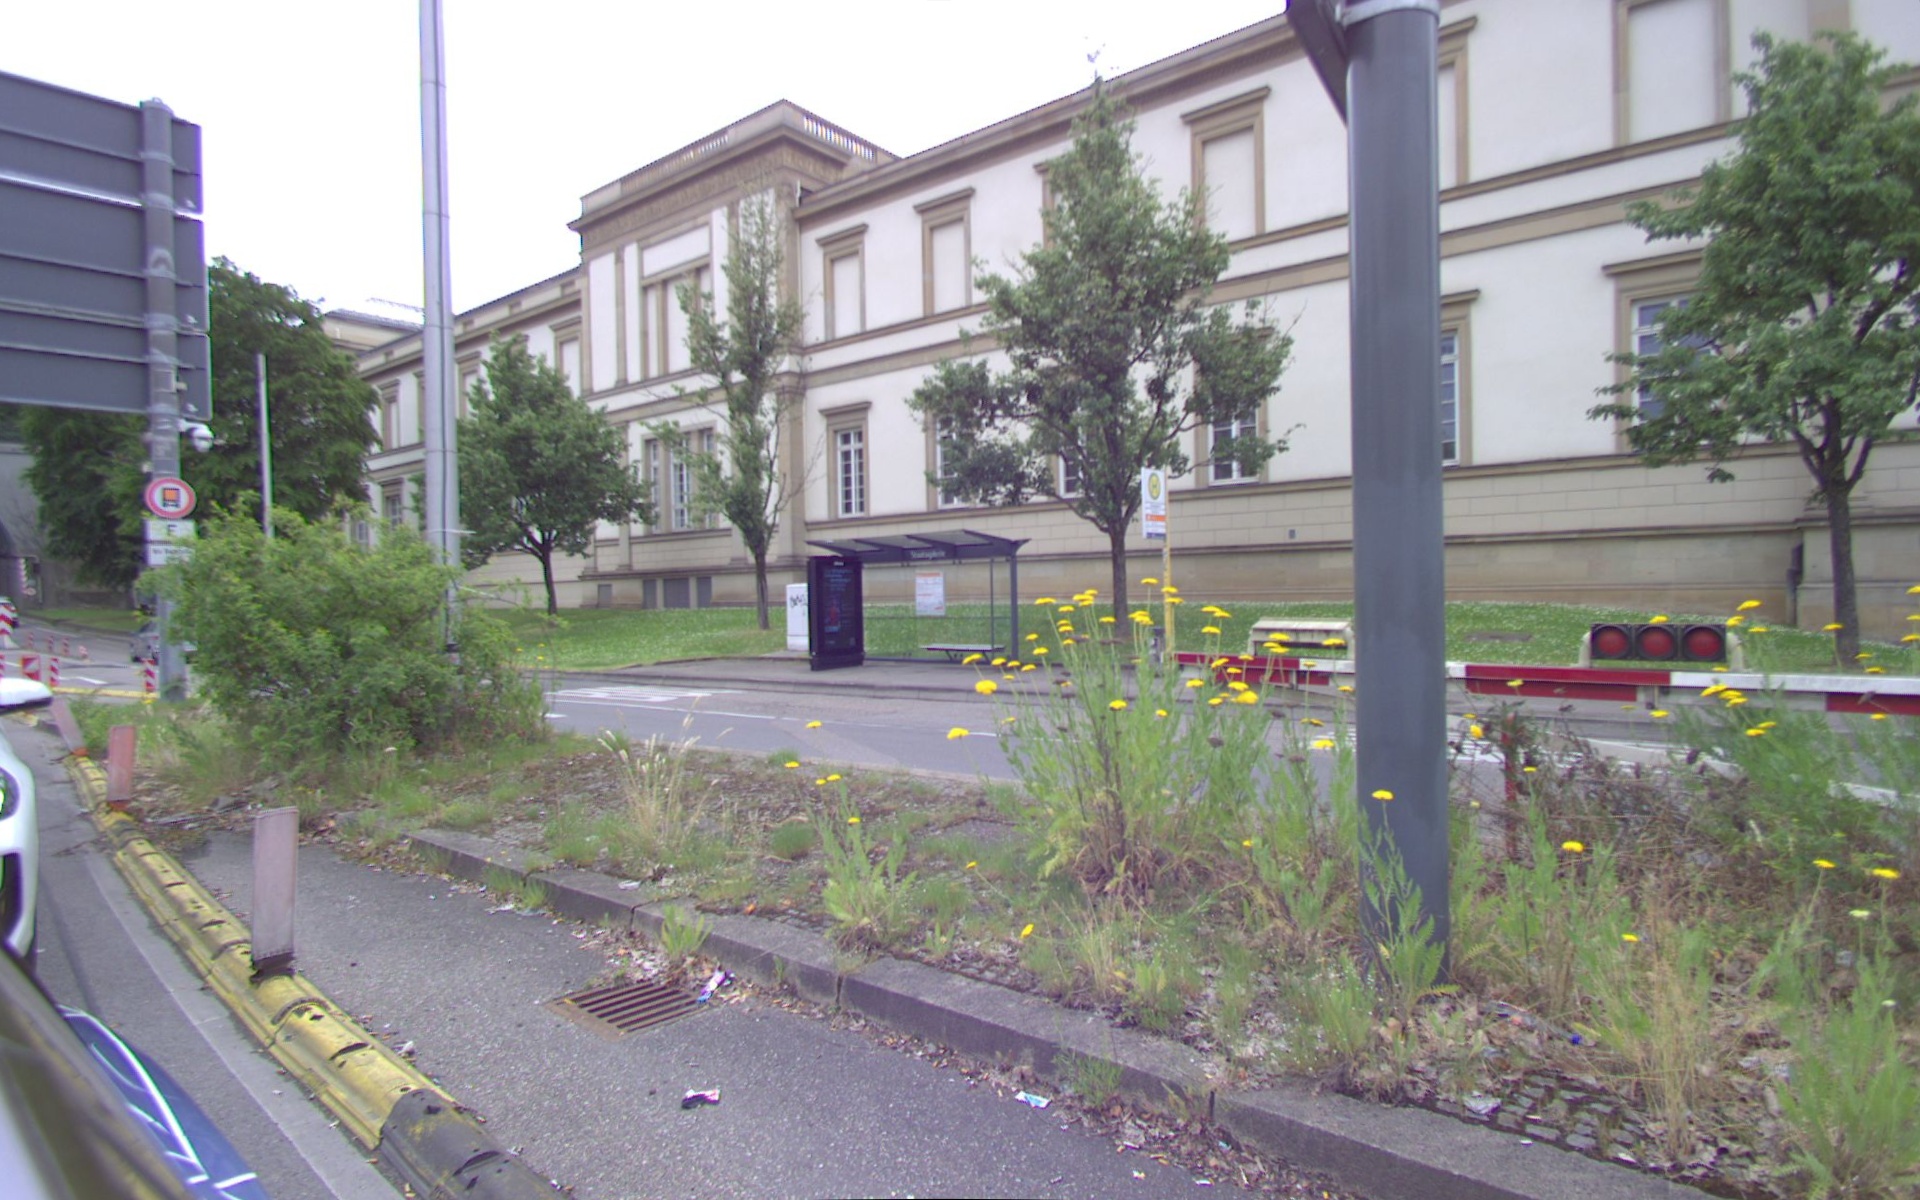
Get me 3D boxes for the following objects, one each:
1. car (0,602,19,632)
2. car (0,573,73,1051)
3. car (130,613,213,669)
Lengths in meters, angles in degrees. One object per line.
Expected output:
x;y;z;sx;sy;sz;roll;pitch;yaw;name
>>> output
-55.740;1.015;58.563;1.876;1.637;4.111;-1;-1;-43;car
-5.188;0.750;4.081;3.668;1.637;1.962;-1;0;41;car
-26.852;1.343;34.415;1.810;1.759;4.003;-1;0;-44;car
